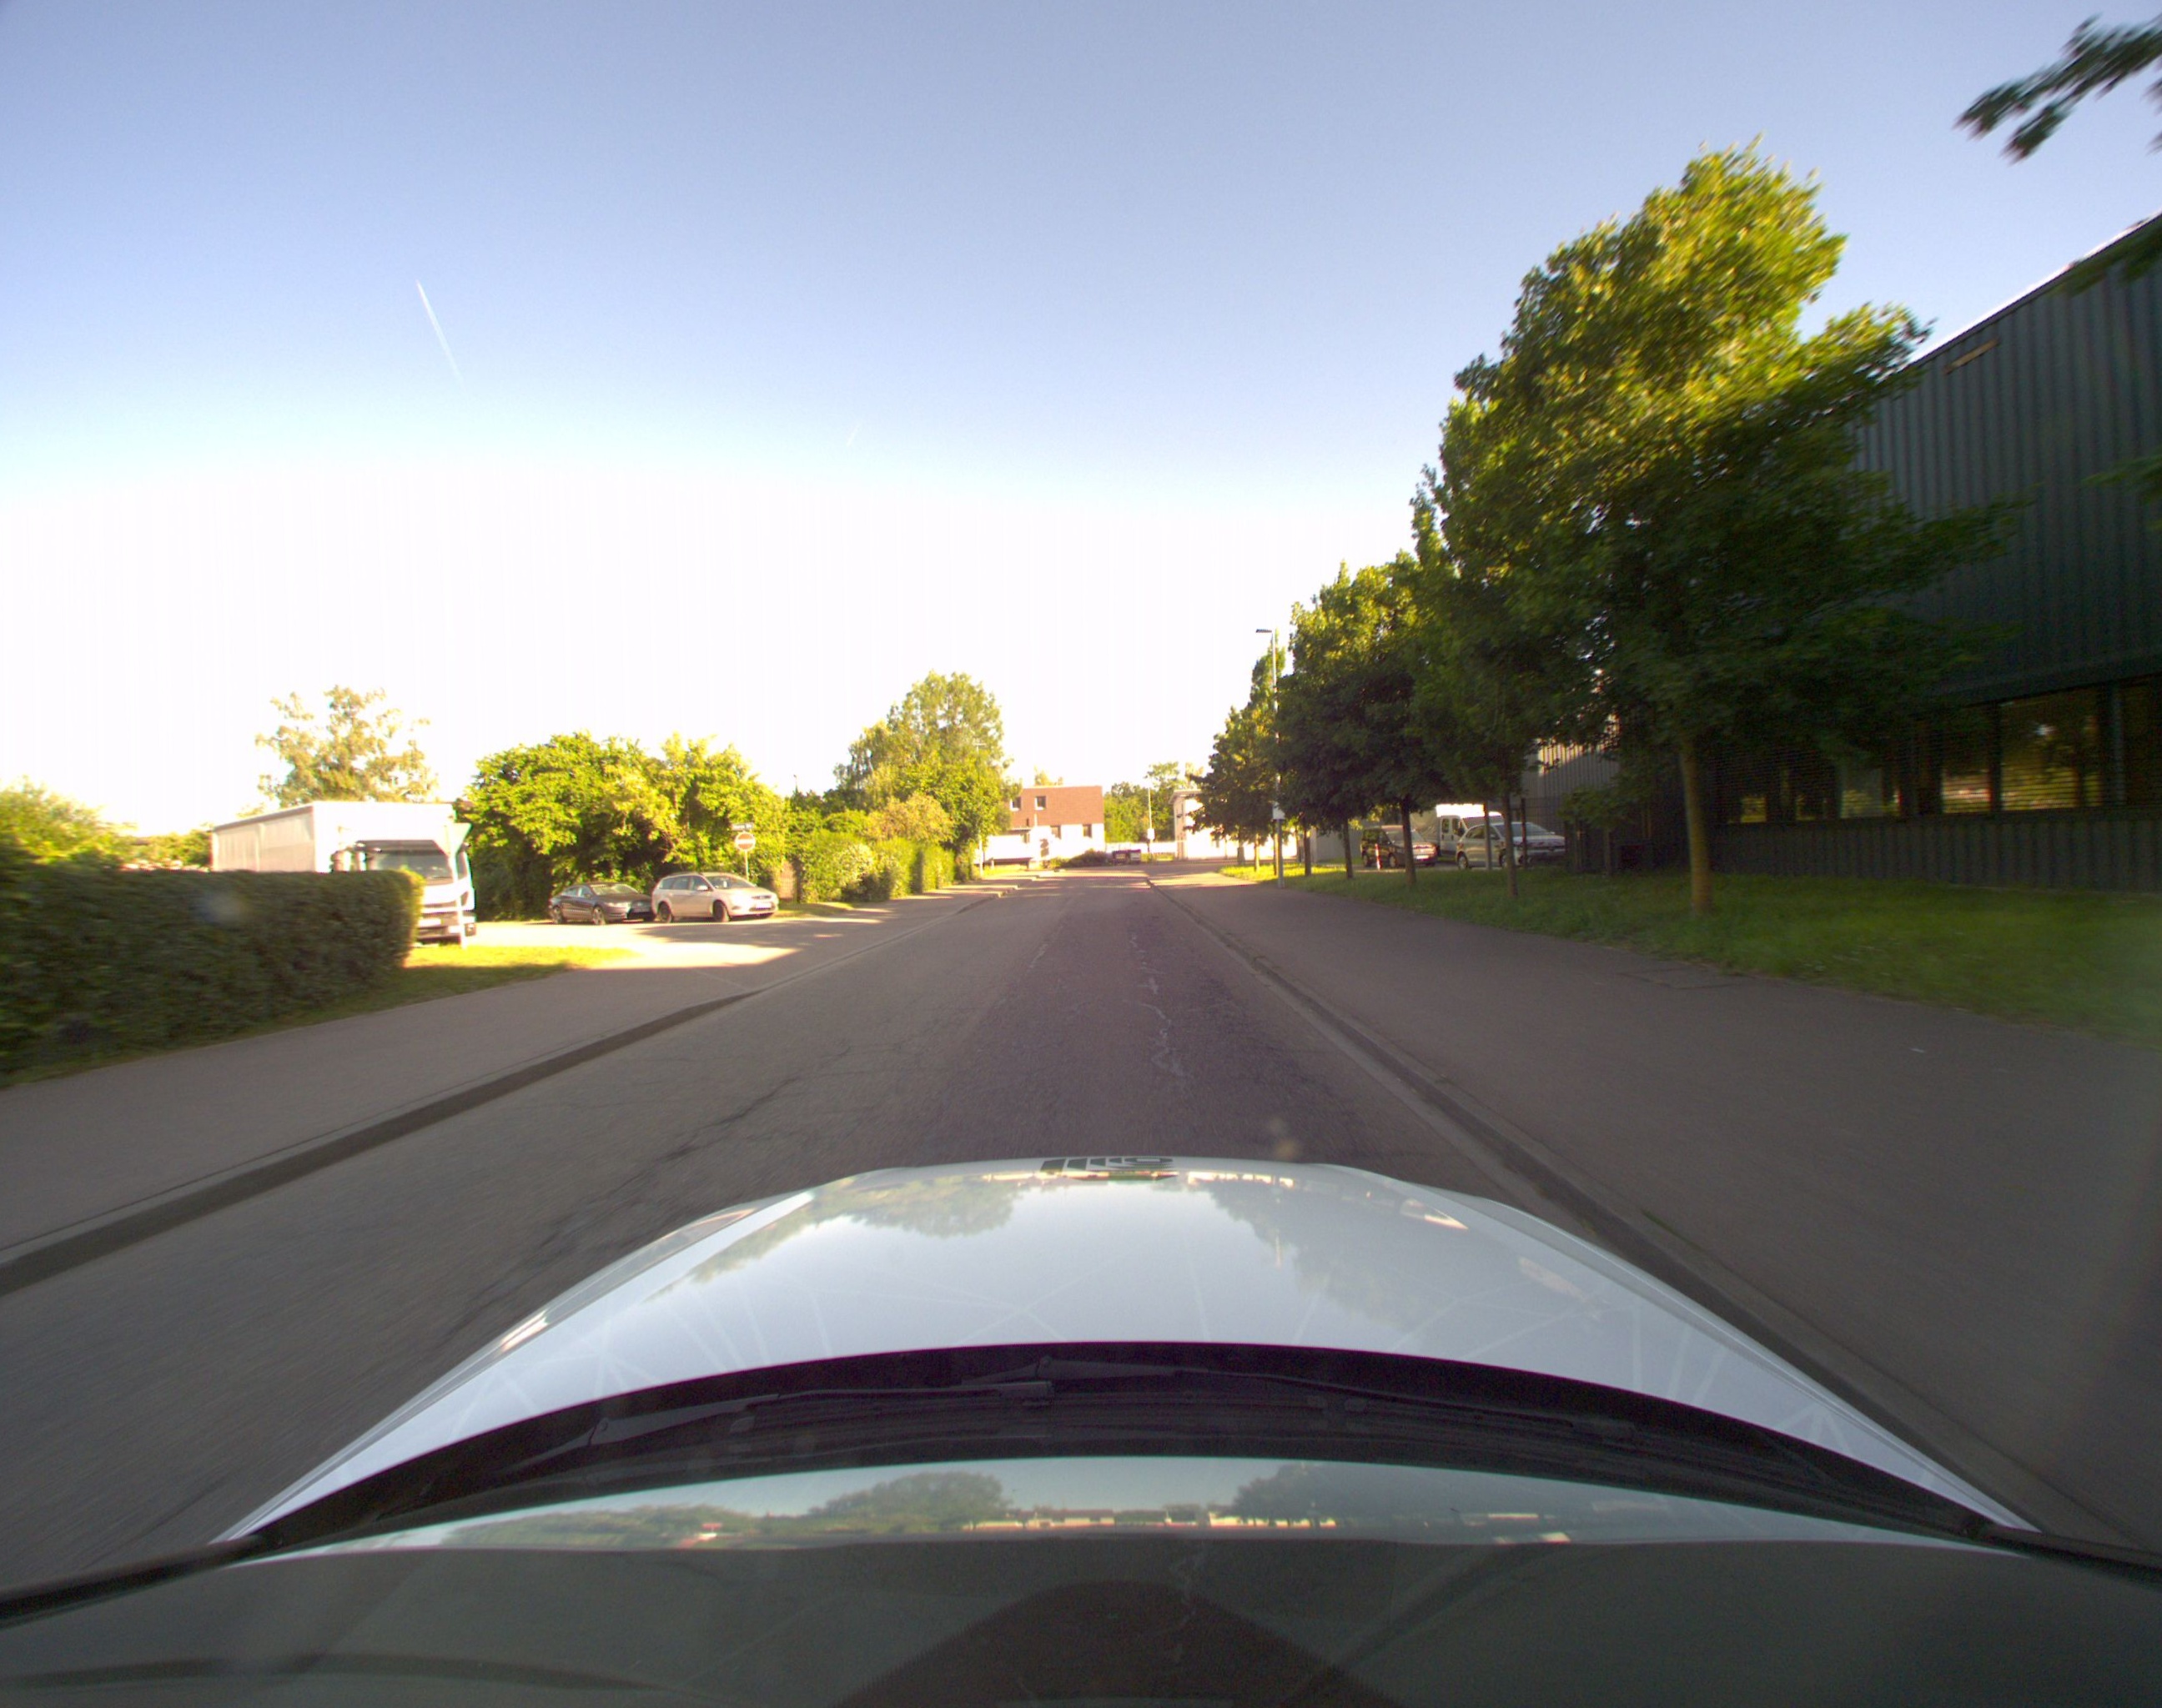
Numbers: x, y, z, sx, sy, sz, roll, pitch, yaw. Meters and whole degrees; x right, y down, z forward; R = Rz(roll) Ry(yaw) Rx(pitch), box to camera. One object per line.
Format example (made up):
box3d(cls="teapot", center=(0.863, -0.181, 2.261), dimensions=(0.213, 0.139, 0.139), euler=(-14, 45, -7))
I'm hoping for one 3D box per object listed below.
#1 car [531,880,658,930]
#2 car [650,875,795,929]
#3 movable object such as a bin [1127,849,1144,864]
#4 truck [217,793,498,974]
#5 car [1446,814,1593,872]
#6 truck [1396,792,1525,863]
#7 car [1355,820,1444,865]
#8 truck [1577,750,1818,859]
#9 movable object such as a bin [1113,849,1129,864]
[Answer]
box3d(cls="car", center=(-16.146, 1.688, 26.995), dimensions=(4.152, 1.436, 1.654), euler=(-4, -2, 28))
box3d(cls="car", center=(-11.034, 1.428, 25.002), dimensions=(4.170, 1.490, 1.888), euler=(-1, -1, 28))
box3d(cls="movable object such as a bin", center=(5.099, 0.214, 76.284), dimensions=(1.363, 1.418, 1.063), euler=(-1, -1, -5))
box3d(cls="truck", center=(-18.867, 0.812, 20.997), dimensions=(9.214, 3.883, 2.728), euler=(-3, -1, 31))
box3d(cls="car", center=(12.244, -0.272, 23.089), dimensions=(1.829, 1.466, 4.277), euler=(-1, 0, 0))
box3d(cls="truck", center=(16.682, -1.094, 36.361), dimensions=(2.353, 2.838, 6.744), euler=(-1, 0, -3))
box3d(cls="car", center=(13.664, -0.442, 35.217), dimensions=(1.831, 1.814, 4.661), euler=(-1, 0, -3))
box3d(cls="truck", center=(17.309, -1.220, 23.507), dimensions=(2.273, 2.677, 6.404), euler=(-1, 0, 2))
box3d(cls="movable object such as a bin", center=(3.719, 0.230, 75.975), dimensions=(1.363, 1.418, 1.063), euler=(-1, -1, -5))
